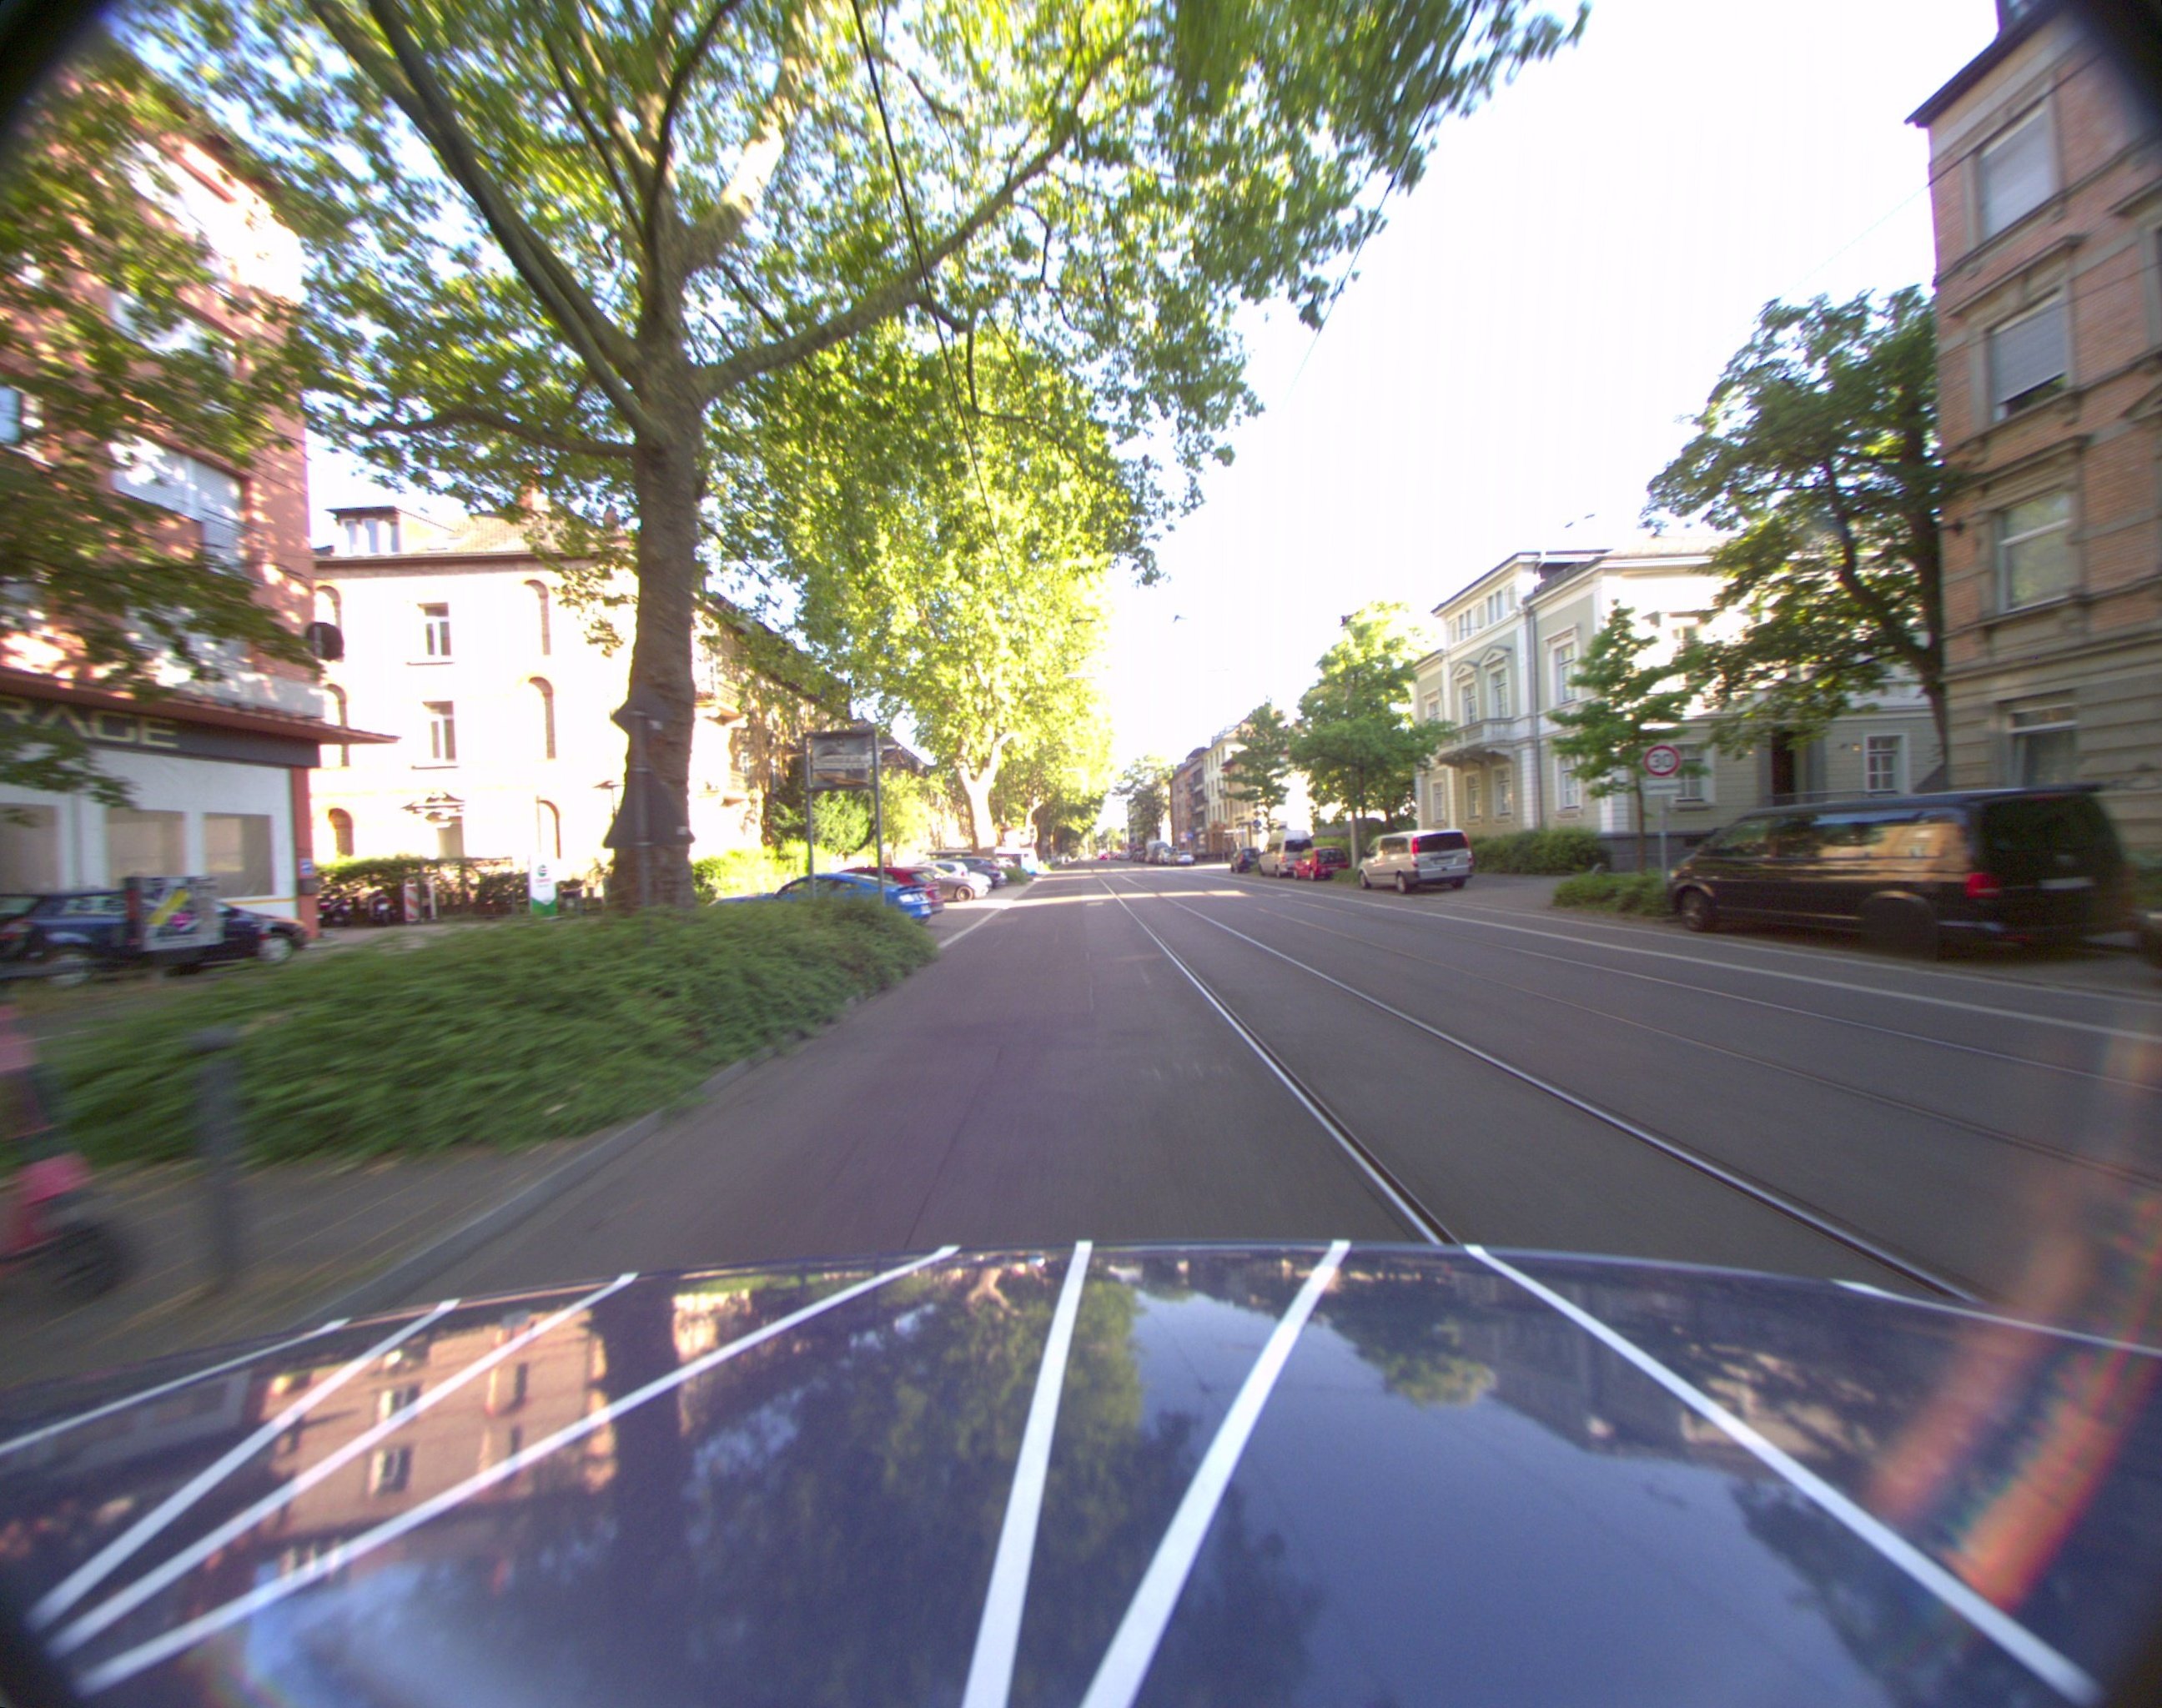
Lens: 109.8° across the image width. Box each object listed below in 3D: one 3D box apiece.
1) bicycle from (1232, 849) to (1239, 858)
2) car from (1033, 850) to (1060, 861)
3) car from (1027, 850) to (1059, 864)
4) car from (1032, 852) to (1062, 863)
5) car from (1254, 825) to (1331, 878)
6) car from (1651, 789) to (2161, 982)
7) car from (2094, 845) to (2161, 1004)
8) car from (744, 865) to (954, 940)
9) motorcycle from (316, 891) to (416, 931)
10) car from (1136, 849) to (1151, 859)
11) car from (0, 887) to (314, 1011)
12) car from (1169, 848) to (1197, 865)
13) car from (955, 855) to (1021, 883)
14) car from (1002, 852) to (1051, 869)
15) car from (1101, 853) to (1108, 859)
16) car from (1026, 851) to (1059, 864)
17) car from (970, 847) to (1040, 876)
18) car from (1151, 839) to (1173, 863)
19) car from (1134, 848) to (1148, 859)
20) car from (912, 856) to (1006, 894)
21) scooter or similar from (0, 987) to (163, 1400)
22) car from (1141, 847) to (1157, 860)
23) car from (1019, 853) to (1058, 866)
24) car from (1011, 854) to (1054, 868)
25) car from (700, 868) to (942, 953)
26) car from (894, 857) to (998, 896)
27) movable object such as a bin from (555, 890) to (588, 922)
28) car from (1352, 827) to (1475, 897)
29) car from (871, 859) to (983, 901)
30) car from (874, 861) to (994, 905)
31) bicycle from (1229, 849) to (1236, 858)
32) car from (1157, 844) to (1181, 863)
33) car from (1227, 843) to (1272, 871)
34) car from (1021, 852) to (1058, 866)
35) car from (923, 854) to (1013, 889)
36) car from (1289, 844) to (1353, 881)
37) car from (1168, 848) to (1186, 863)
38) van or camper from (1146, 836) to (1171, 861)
[{"bbox_3d":[15.895,-0.081,78.421,0.362,0.923,1.647,-2,0,0],"label":"bicycle"},{"bbox_3d":[-6.047,0.237,132.937,4.611,1.705,1.893,-2,0,3],"label":"car"},{"bbox_3d":[-5.827,0.462,117.423,4.636,2.001,1.893,-2,0,3],"label":"car"},{"bbox_3d":[-5.453,0.629,122.946,4.611,1.631,1.893,-2,0,3],"label":"car"},{"bbox_3d":[10.917,-0.153,39.674,2.310,2.493,5.342,-2,0,-2],"label":"car"},{"bbox_3d":[10.797,0.326,10.556,1.999,2.002,4.833,-2,0,-1],"label":"car"},{"bbox_3d":[10.936,0.640,5.355,1.858,1.450,4.269,-2,0,-1],"label":"car"},{"bbox_3d":[-5.517,1.142,18.453,4.414,1.534,1.952,-2,0,2],"label":"car"},{"bbox_3d":[-21.745,1.723,23.127,2.382,1.096,0.808,-2,1,6],"label":"motorcycle"},{"bbox_3d":[10.056,-0.035,122.412,1.791,1.462,4.434,-3,0,-1],"label":"car"},{"bbox_3d":[-14.988,1.360,11.956,1.753,1.426,3.950,-2,0,0],"label":"car"},{"bbox_3d":[10.203,0.224,76.345,1.776,1.484,4.940,-3,0,-3],"label":"car"},{"bbox_3d":[-5.535,0.888,45.694,3.792,1.609,1.790,-1,0,-2],"label":"car"},{"bbox_3d":[-5.558,0.638,78.041,4.810,1.621,1.893,-2,0,0],"label":"car"},{"bbox_3d":[6.543,0.596,209.180,1.769,1.448,3.585,-2,0,0],"label":"car"},{"bbox_3d":[-5.565,0.503,111.202,4.611,1.781,1.893,-2,0,3],"label":"car"},{"bbox_3d":[-5.415,0.536,54.393,4.859,2.002,2.193,-1,0,-3],"label":"car"},{"bbox_3d":[9.891,-0.360,92.863,1.928,2.730,4.546,-6,0,0],"label":"car"},{"bbox_3d":[9.928,-0.117,126.491,1.791,1.660,4.434,-3,0,-1],"label":"car"},{"bbox_3d":[-5.780,0.962,36.406,4.211,1.609,1.878,-2,0,-3],"label":"car"},{"bbox_3d":[-4.053,1.130,2.526,1.211,1.233,0.569,-2,1,-2],"label":"scooter or similar"},{"bbox_3d":[9.904,-0.119,111.541,1.791,1.743,4.434,-3,0,-1],"label":"car"},{"bbox_3d":[-5.206,0.708,93.468,4.611,1.485,1.893,-2,0,3],"label":"car"},{"bbox_3d":[-5.429,0.771,85.289,4.611,1.485,1.893,-2,0,3],"label":"car"},{"bbox_3d":[-5.383,1.156,16.053,4.412,1.534,1.818,-2,0,7],"label":"car"},{"bbox_3d":[-5.983,0.987,34.048,4.210,1.565,1.818,-2,0,2],"label":"car"},{"bbox_3d":[-15.660,1.598,23.374,0.658,0.935,0.447,-2,2,5],"label":"movable object such as a bin"},{"bbox_3d":[10.652,0.219,24.800,1.848,1.977,4.988,-2,0,1],"label":"car"},{"bbox_3d":[-6.419,1.064,31.941,4.210,1.546,1.818,-2,0,2],"label":"car"},{"bbox_3d":[-5.576,1.100,29.235,4.211,1.439,1.817,-2,0,0],"label":"car"},{"bbox_3d":[15.990,-0.099,80.051,0.362,0.923,1.647,-2,0,0],"label":"bicycle"},{"bbox_3d":[10.037,-0.044,86.794,1.928,2.034,4.940,-3,0,-1],"label":"car"},{"bbox_3d":[10.773,0.184,48.845,1.997,1.680,4.261,-2,0,2],"label":"car"},{"bbox_3d":[-5.321,0.605,98.009,4.611,1.631,1.893,-2,0,3],"label":"car"},{"bbox_3d":[-5.760,0.872,39.062,4.210,1.609,1.818,-2,1,2],"label":"car"},{"bbox_3d":[10.908,0.347,34.779,1.689,1.530,3.707,-2,0,-1],"label":"car"},{"bbox_3d":[10.229,0.118,81.029,1.575,1.484,2.882,-3,0,0],"label":"car"},{"bbox_3d":[10.102,-0.681,99.609,2.423,2.960,5.990,-6,0,1],"label":"van or camper"}]
